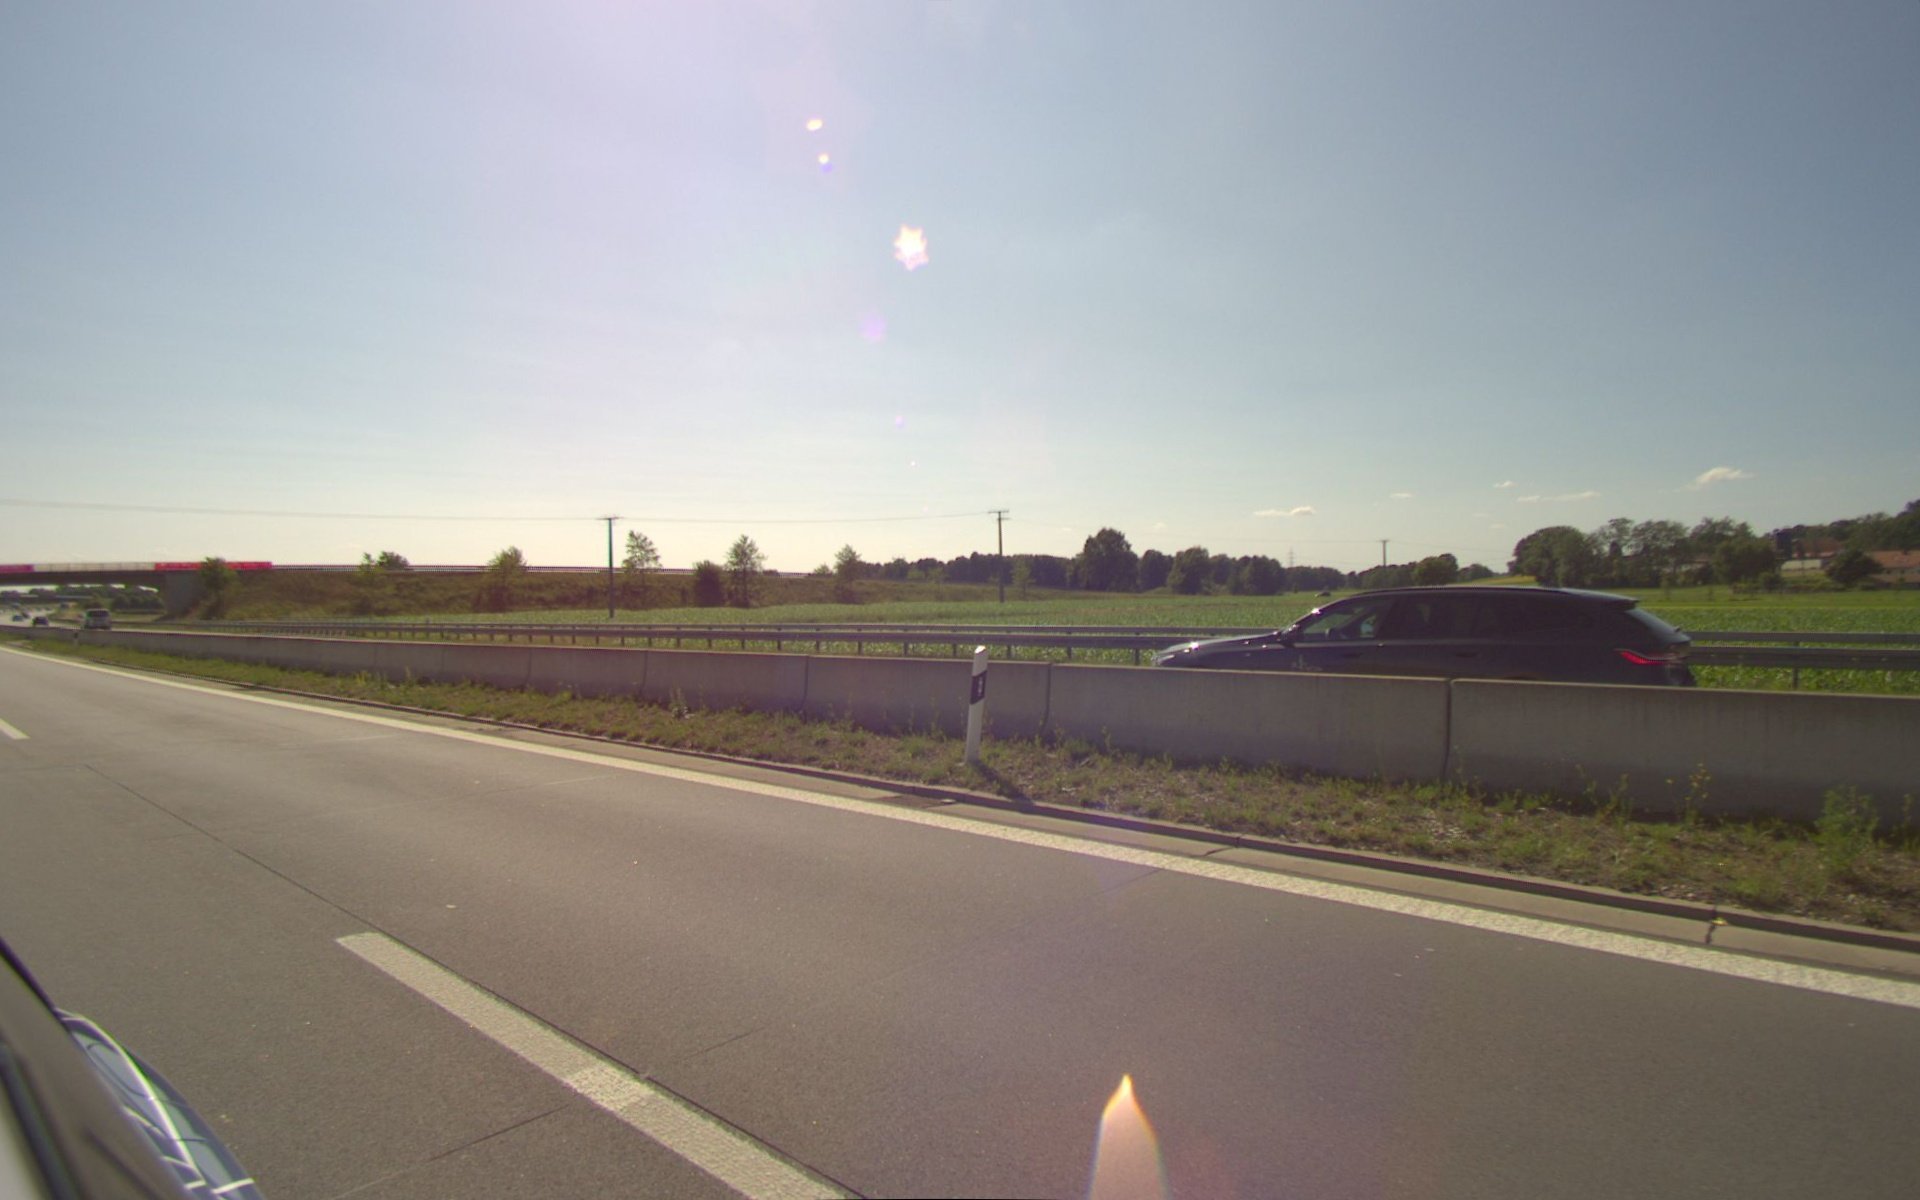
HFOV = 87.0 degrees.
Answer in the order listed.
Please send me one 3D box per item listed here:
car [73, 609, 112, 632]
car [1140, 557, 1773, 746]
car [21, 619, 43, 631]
[{"bbox_3d":[-78.153,1.827,91.143,5.613,2.029,1.972,-1,0,42],"label":"car"},{"bbox_3d":[4.472,0.443,9.761,5.194,1.375,1.804,-2,-2,41],"label":"car"},{"bbox_3d":[-127.225,3.478,138.716,4.586,1.525,1.839,-1,1,43],"label":"car"}]
